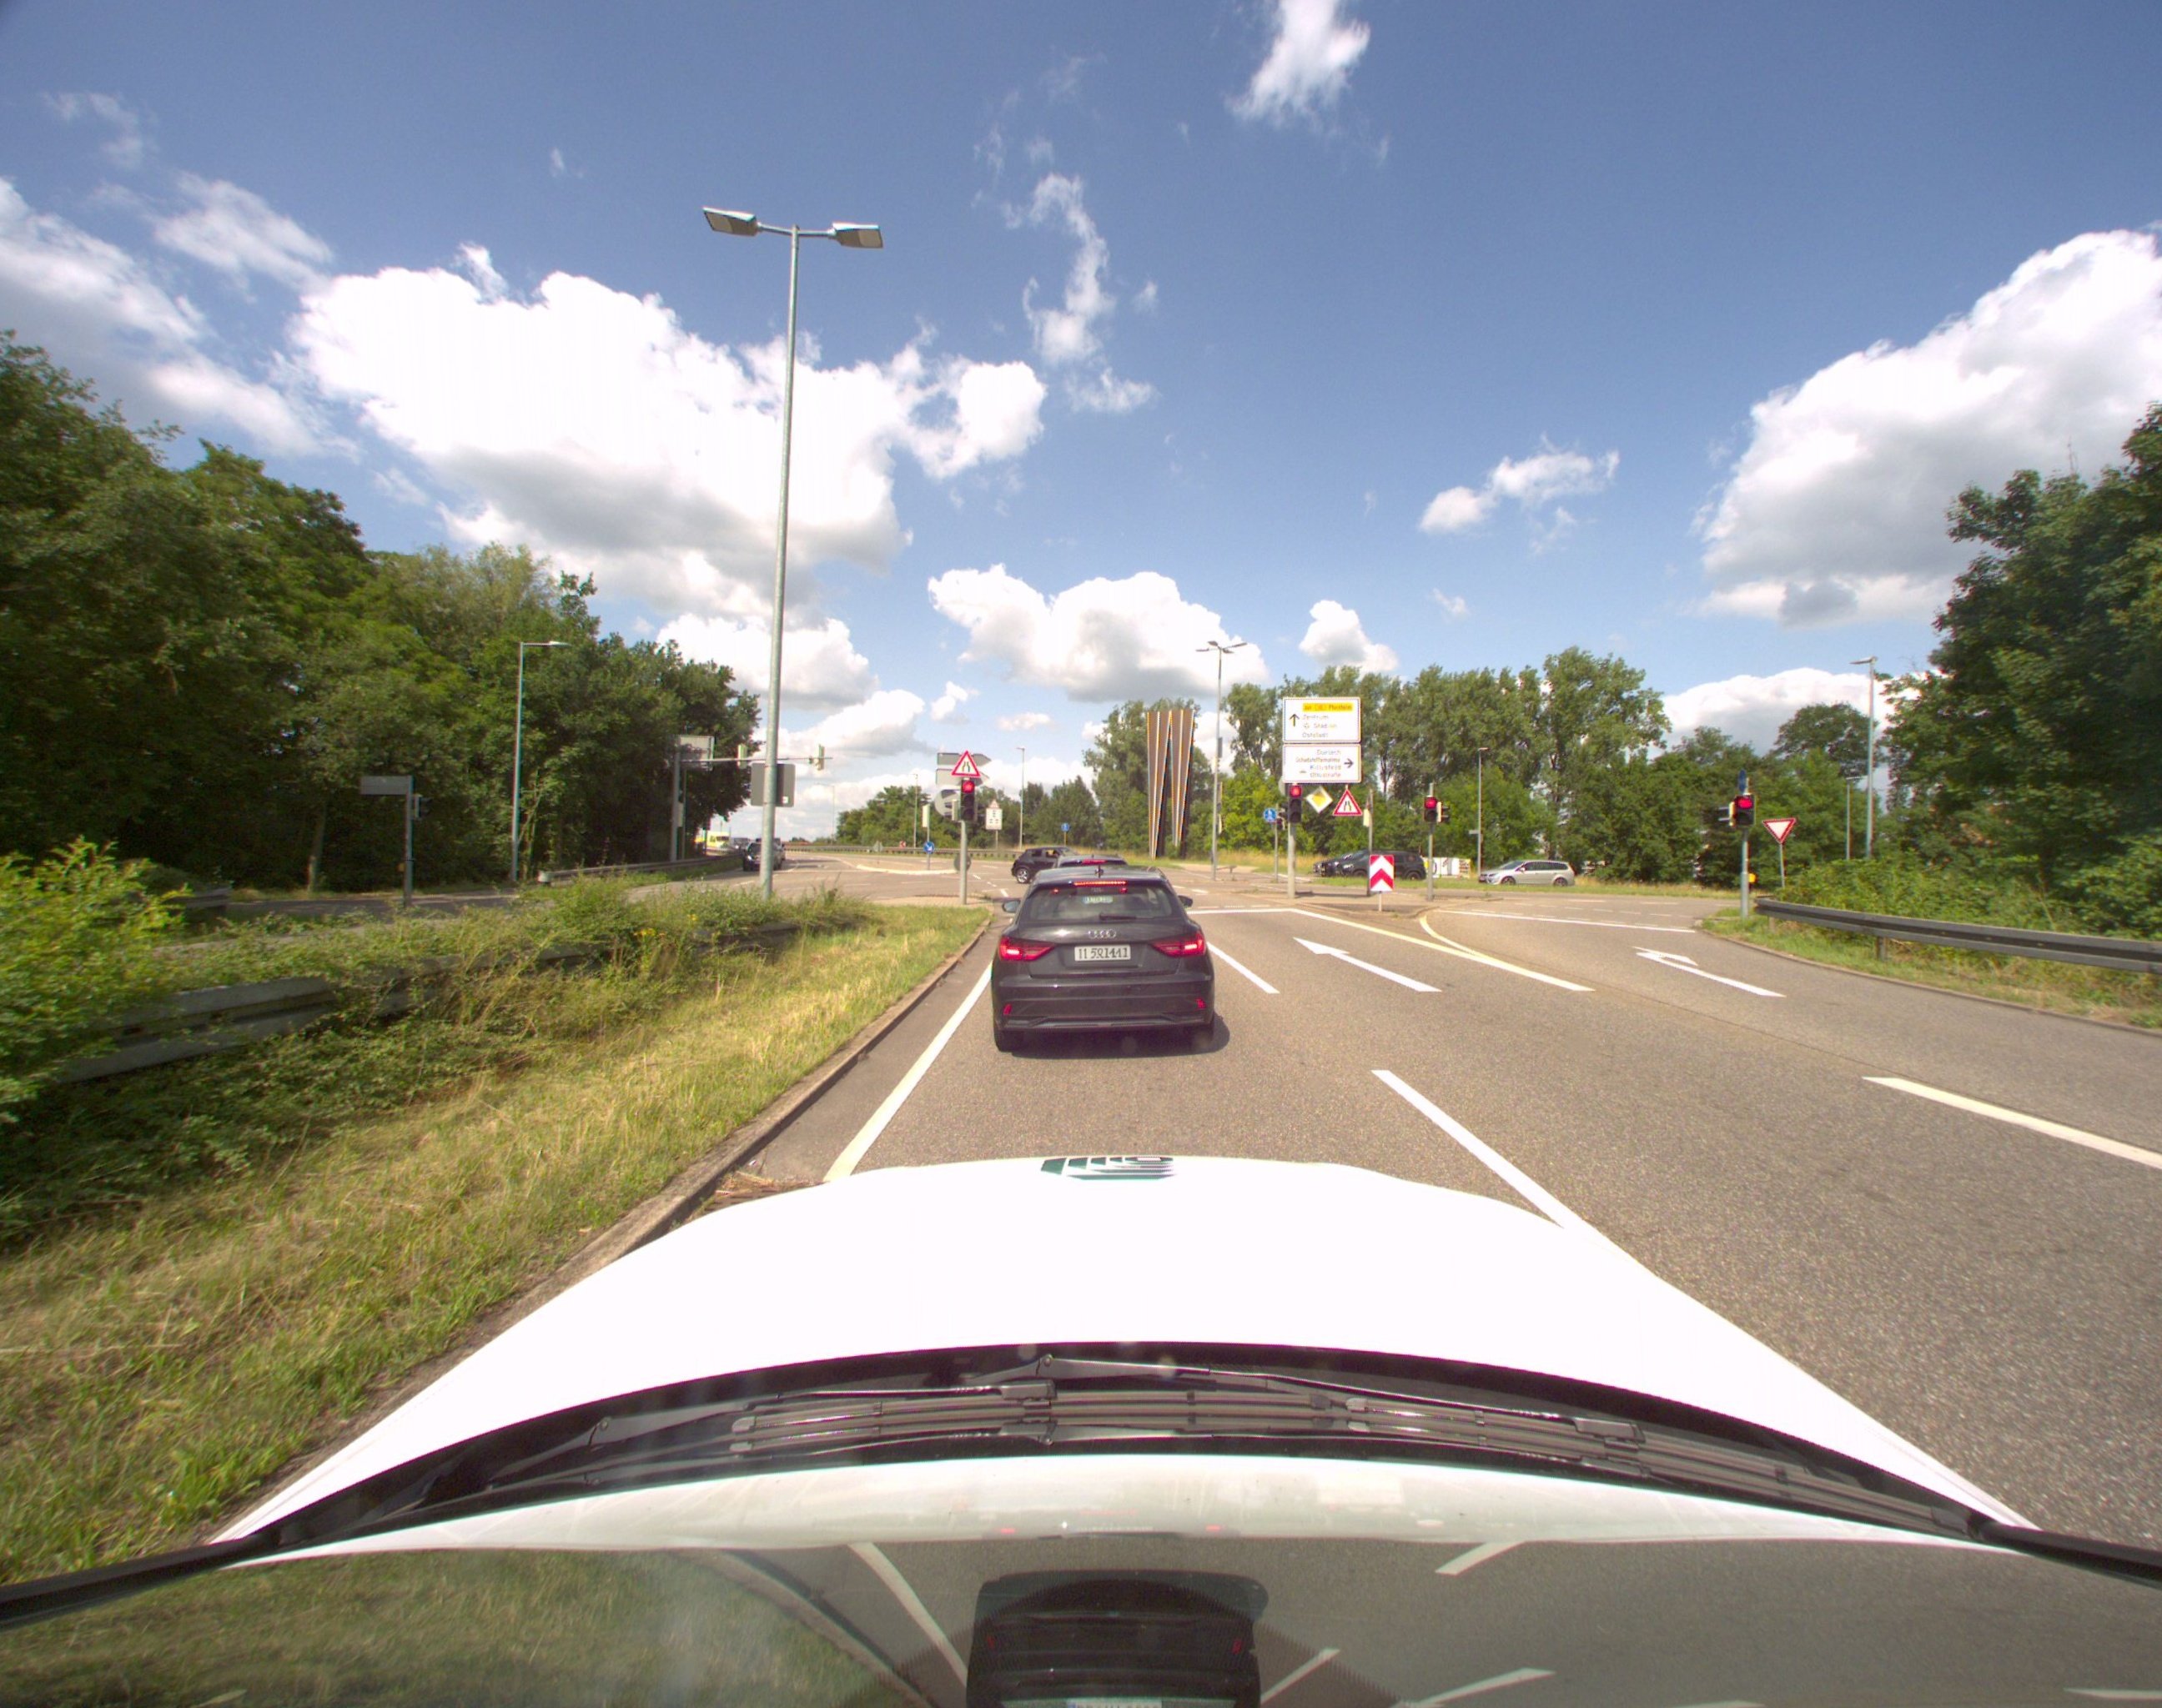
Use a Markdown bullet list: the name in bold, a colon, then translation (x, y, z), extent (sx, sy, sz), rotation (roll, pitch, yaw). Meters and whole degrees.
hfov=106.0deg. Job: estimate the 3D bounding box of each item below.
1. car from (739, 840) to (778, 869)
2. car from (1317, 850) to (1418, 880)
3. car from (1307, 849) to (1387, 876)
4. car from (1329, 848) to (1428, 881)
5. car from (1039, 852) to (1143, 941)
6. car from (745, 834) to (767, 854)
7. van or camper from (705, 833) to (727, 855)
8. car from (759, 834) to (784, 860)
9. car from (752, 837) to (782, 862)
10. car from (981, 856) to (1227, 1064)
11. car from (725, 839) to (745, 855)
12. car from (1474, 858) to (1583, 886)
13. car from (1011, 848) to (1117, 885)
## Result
- **car**: translation (-18.286, 0.063, 46.298), extent (1.844, 1.618, 3.974), rotation (0, -1, -19)
- **car**: translation (15.296, 0.567, 43.681), extent (4.831, 1.545, 1.737), rotation (1, 0, 0)
- **car**: translation (15.480, 0.468, 47.579), extent (4.089, 1.496, 2.002), rotation (1, 0, 3)
- **car**: translation (14.505, 0.514, 39.844), extent (4.253, 1.545, 1.737), rotation (1, 0, 0)
- **car**: translation (0.102, 0.710, 15.620), extent (1.722, 1.423, 3.841), rotation (-1, 0, -2)
- **car**: translation (-32.613, -0.991, 81.667), extent (1.852, 1.978, 4.292), rotation (0, 0, -25)
- **van or camper**: translation (-46.670, -1.234, 104.055), extent (2.006, 2.683, 6.798), rotation (0, 0, -30)
- **car**: translation (-25.788, -0.590, 67.761), extent (1.850, 2.100, 4.295), rotation (0, 0, -22)
- **car**: translation (-23.230, -0.335, 60.351), extent (1.849, 1.802, 4.299), rotation (0, 0, -19)
- **car**: translation (0.226, 0.765, 7.811), extent (1.720, 1.404, 4.002), rotation (-1, 0, 2)
- **car**: translation (-38.794, -0.775, 91.240), extent (1.853, 1.705, 4.289), rotation (0, 0, -26)
- **car**: translation (21.868, 0.861, 39.900), extent (4.460, 1.320, 1.736), rotation (1, 0, -2)
- **car**: translation (-0.684, 0.504, 33.935), extent (3.921, 1.418, 1.964), rotation (1, 0, 24)
